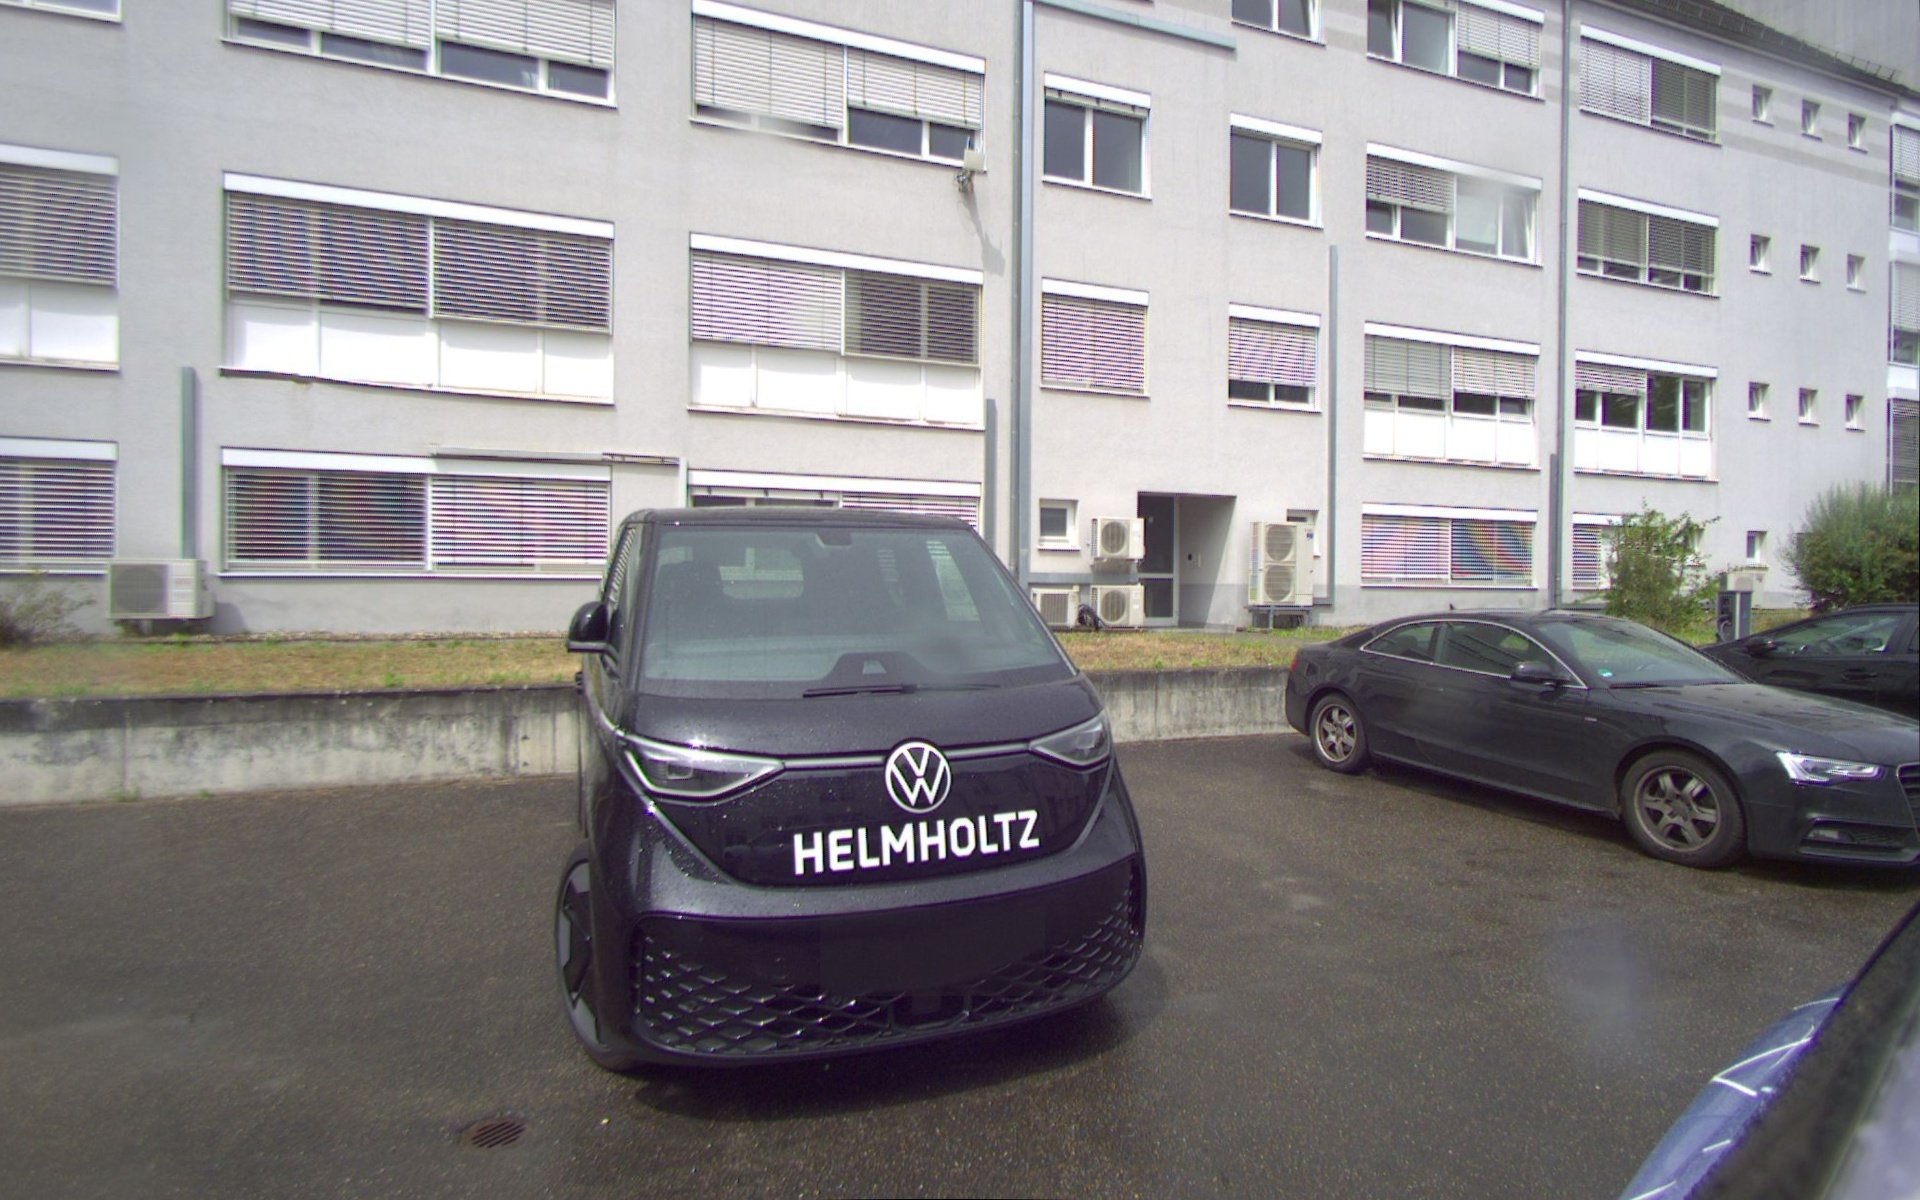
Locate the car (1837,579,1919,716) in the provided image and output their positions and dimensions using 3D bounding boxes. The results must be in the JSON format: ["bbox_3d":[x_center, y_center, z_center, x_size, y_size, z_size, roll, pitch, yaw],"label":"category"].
[{"bbox_3d":[11.617,0.549,9.978,1.794,1.473,4.120,0,1,-19],"label":"car"}]

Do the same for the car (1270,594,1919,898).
[{"bbox_3d":[4.344,0.679,7.102,1.821,1.365,4.377,1,1,-21],"label":"car"}]

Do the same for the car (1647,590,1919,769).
[{"bbox_3d":[8.676,0.660,8.749,1.899,1.418,4.193,-1,2,-21],"label":"car"}]

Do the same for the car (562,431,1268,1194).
[{"bbox_3d":[-0.851,0.452,5.038,2.066,1.856,4.735,0,2,-21],"label":"car"}]
